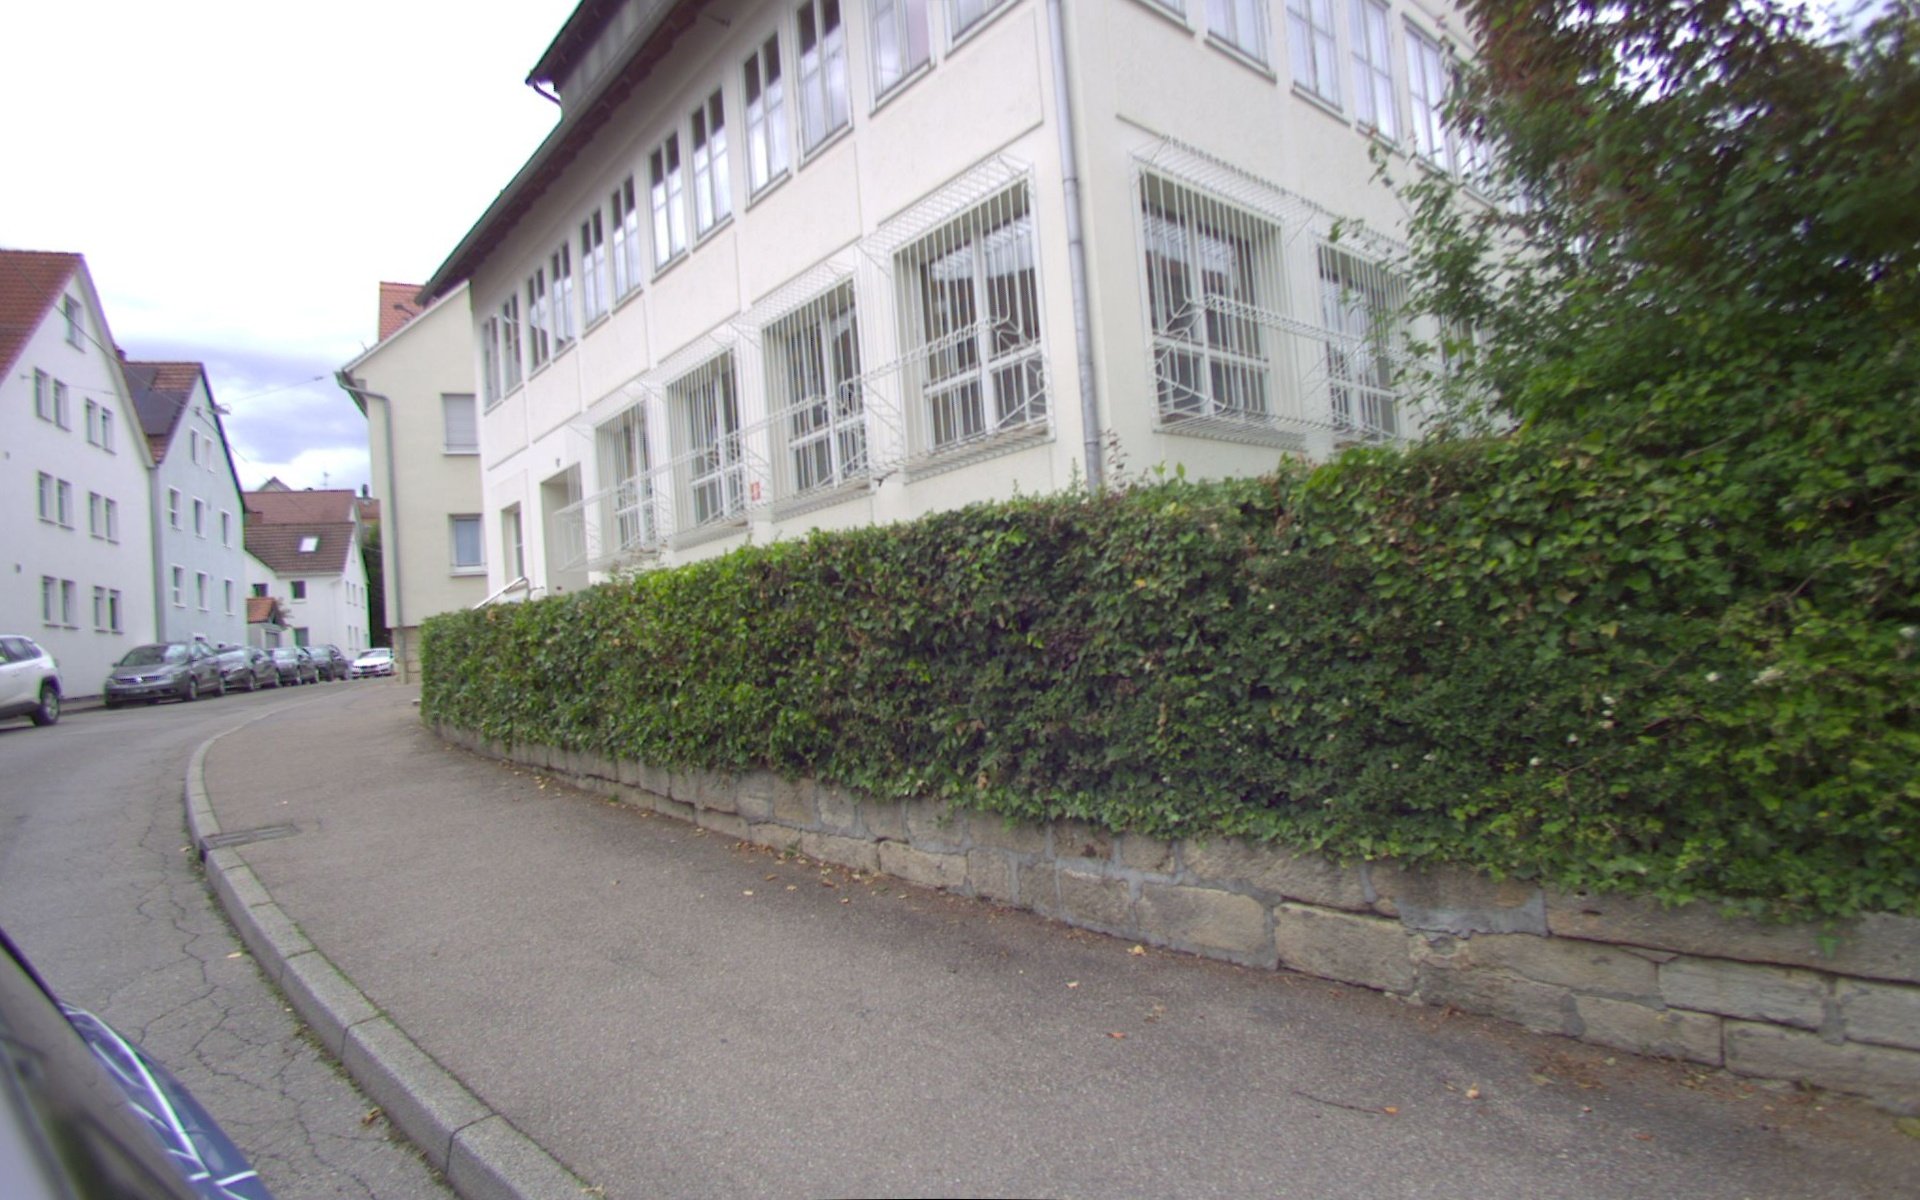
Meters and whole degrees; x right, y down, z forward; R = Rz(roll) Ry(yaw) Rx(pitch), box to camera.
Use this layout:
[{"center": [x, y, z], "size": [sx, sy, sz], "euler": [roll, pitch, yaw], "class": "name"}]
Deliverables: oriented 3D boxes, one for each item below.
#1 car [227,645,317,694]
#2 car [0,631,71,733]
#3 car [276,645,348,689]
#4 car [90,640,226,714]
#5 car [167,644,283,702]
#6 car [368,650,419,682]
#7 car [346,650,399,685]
[{"center": [-24.055, 2.414, 35.543], "size": [1.701, 1.453, 4.278], "euler": [-5, -1, -23], "class": "car"}, {"center": [-16.614, 1.426, 16.424], "size": [1.919, 1.652, 4.474], "euler": [-5, -1, -24], "class": "car"}, {"center": [-25.777, 2.685, 40.391], "size": [1.616, 1.523, 3.853], "euler": [-4, -2, -21], "class": "car"}, {"center": [-20.389, 1.899, 25.910], "size": [1.711, 1.575, 3.921], "euler": [-5, 0, -24], "class": "car"}, {"center": [-22.292, 2.177, 30.855], "size": [1.783, 1.453, 3.971], "euler": [-5, 0, -21], "class": "car"}, {"center": [-32.457, 3.780, 58.110], "size": [1.742, 1.632, 4.295], "euler": [-5, -2, -19], "class": "car"}, {"center": [-30.537, 3.516, 52.713], "size": [1.742, 1.574, 4.053], "euler": [-5, -2, -22], "class": "car"}]
